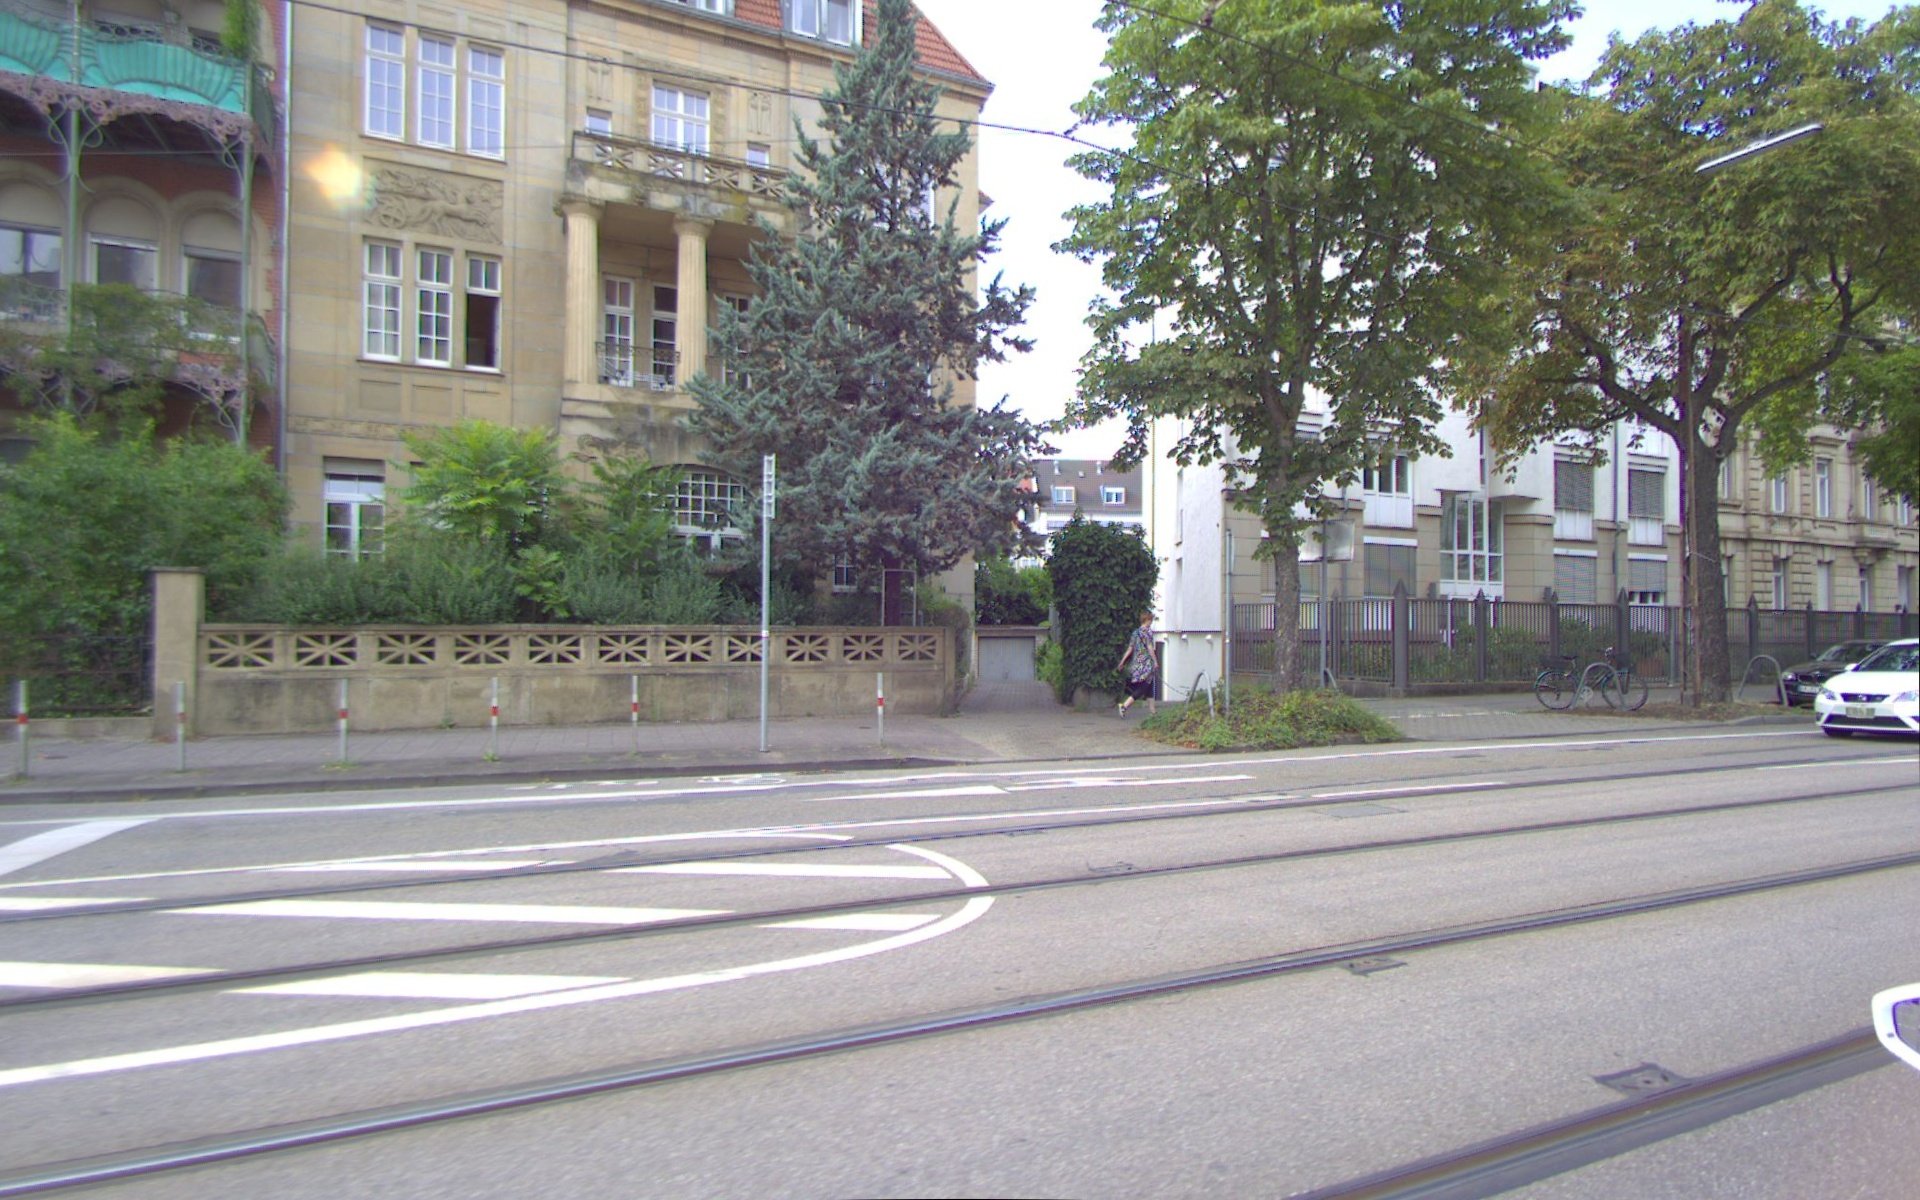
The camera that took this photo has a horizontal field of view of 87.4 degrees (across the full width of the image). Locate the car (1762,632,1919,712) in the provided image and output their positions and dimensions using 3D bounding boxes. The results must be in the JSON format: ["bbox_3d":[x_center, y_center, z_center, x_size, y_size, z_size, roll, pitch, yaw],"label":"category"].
[{"bbox_3d":[18.902,1.450,20.881,4.106,1.444,1.716,1,1,-23],"label":"car"}]

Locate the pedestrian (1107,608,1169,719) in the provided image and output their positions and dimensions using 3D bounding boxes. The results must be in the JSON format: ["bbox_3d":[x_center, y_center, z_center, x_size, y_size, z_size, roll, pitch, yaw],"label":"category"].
[{"bbox_3d":[2.895,1.011,16.378,0.692,1.758,0.702,1,0,-29],"label":"pedestrian"}]

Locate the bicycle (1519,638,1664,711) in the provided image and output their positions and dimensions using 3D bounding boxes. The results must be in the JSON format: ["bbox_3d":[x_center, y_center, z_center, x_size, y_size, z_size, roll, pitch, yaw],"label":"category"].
[{"bbox_3d":[11.532,1.332,18.403,2.198,1.191,0.833,0,-1,34],"label":"bicycle"}]

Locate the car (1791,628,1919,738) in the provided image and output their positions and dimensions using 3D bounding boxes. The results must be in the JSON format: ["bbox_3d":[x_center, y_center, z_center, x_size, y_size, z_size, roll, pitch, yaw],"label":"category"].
[{"bbox_3d":[14.114,1.154,14.435,3.940,1.434,1.569,1,-3,-21],"label":"car"}]
